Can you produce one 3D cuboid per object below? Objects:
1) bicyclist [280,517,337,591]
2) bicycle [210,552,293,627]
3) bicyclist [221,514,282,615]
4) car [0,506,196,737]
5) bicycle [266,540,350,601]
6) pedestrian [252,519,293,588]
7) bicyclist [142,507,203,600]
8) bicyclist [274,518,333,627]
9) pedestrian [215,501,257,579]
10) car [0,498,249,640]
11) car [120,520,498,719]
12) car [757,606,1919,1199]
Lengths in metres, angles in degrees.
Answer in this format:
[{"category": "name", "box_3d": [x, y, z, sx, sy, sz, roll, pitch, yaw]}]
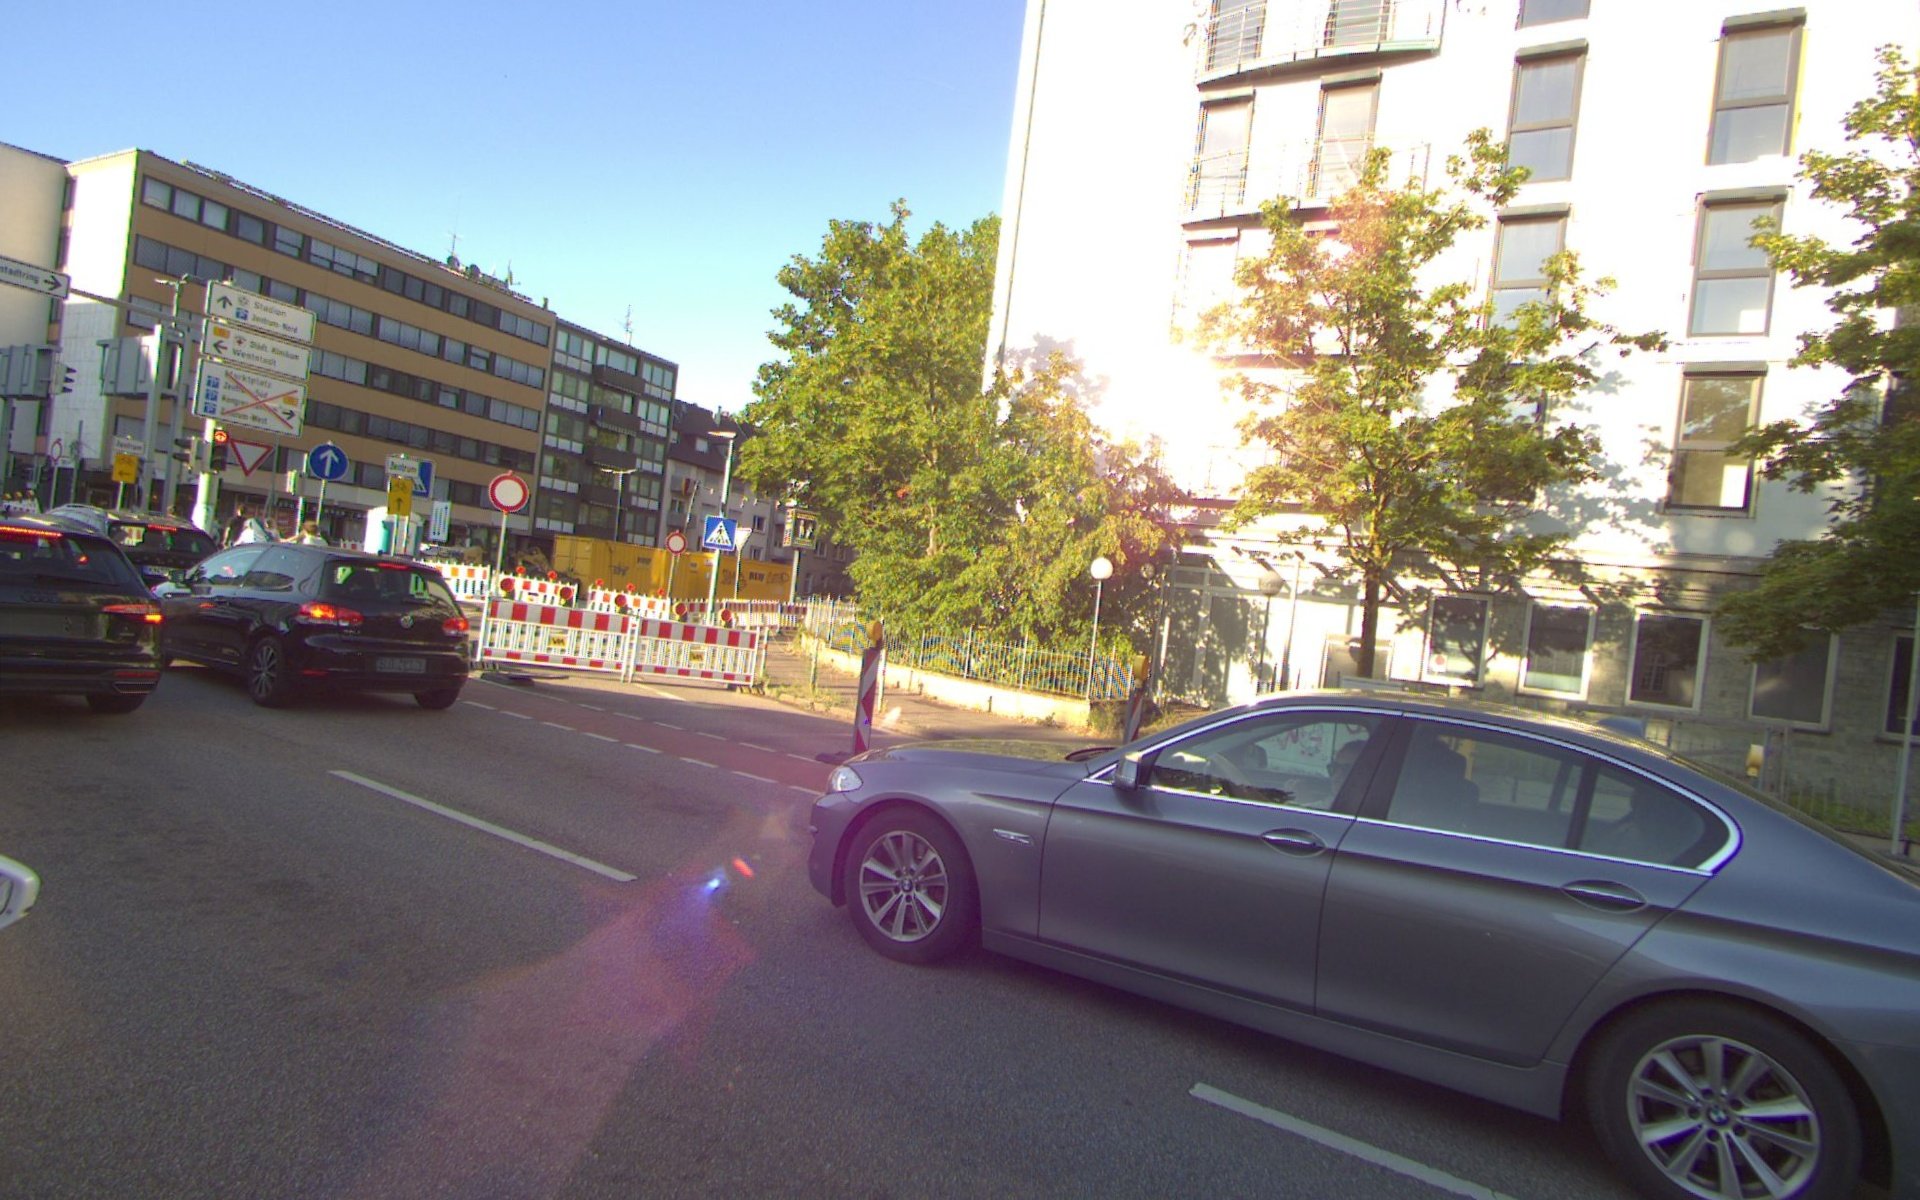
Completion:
[{"category": "bicyclist", "box_3d": [-15.302, -1.072, 23.640, 0.802, 1.608, 0.617, 8, 0, -17]}, {"category": "bicycle", "box_3d": [-11.476, -0.175, 16.275, 1.825, 1.020, 0.337, 7, 0, 32]}, {"category": "bicyclist", "box_3d": [-11.495, -0.569, 16.320, 0.713, 1.544, 0.441, 7, 0, 32]}, {"category": "car", "box_3d": [-7.663, -0.048, 7.463, 4.144, 1.437, 1.685, 7, -2, 32]}, {"category": "bicycle", "box_3d": [-15.316, -0.686, 23.671, 1.478, 1.174, 0.372, 9, -1, -17]}, {"category": "pedestrian", "box_3d": [-17.603, -1.185, 25.747, 0.447, 1.691, 0.602, 7, 0, 33]}, {"category": "bicyclist", "box_3d": [-13.951, -0.824, 17.818, 0.713, 1.544, 0.514, 7, 0, 32]}, {"category": "bicyclist", "box_3d": [-9.803, -0.405, 15.031, 0.474, 1.544, 0.441, 7, 0, 31]}, {"category": "pedestrian", "box_3d": [-18.075, -1.485, 25.129, 0.479, 1.857, 0.570, 7, 0, 34]}, {"category": "car", "box_3d": [-11.139, -0.422, 13.374, 3.250, 1.467, 1.507, 7, 0, 32]}, {"category": "car", "box_3d": [-6.587, 0.171, 10.102, 3.683, 1.466, 1.637, 7, -2, 32]}, {"category": "car", "box_3d": [1.563, 1.074, 4.352, 4.587, 1.466, 1.819, 7, -1, 29]}]
